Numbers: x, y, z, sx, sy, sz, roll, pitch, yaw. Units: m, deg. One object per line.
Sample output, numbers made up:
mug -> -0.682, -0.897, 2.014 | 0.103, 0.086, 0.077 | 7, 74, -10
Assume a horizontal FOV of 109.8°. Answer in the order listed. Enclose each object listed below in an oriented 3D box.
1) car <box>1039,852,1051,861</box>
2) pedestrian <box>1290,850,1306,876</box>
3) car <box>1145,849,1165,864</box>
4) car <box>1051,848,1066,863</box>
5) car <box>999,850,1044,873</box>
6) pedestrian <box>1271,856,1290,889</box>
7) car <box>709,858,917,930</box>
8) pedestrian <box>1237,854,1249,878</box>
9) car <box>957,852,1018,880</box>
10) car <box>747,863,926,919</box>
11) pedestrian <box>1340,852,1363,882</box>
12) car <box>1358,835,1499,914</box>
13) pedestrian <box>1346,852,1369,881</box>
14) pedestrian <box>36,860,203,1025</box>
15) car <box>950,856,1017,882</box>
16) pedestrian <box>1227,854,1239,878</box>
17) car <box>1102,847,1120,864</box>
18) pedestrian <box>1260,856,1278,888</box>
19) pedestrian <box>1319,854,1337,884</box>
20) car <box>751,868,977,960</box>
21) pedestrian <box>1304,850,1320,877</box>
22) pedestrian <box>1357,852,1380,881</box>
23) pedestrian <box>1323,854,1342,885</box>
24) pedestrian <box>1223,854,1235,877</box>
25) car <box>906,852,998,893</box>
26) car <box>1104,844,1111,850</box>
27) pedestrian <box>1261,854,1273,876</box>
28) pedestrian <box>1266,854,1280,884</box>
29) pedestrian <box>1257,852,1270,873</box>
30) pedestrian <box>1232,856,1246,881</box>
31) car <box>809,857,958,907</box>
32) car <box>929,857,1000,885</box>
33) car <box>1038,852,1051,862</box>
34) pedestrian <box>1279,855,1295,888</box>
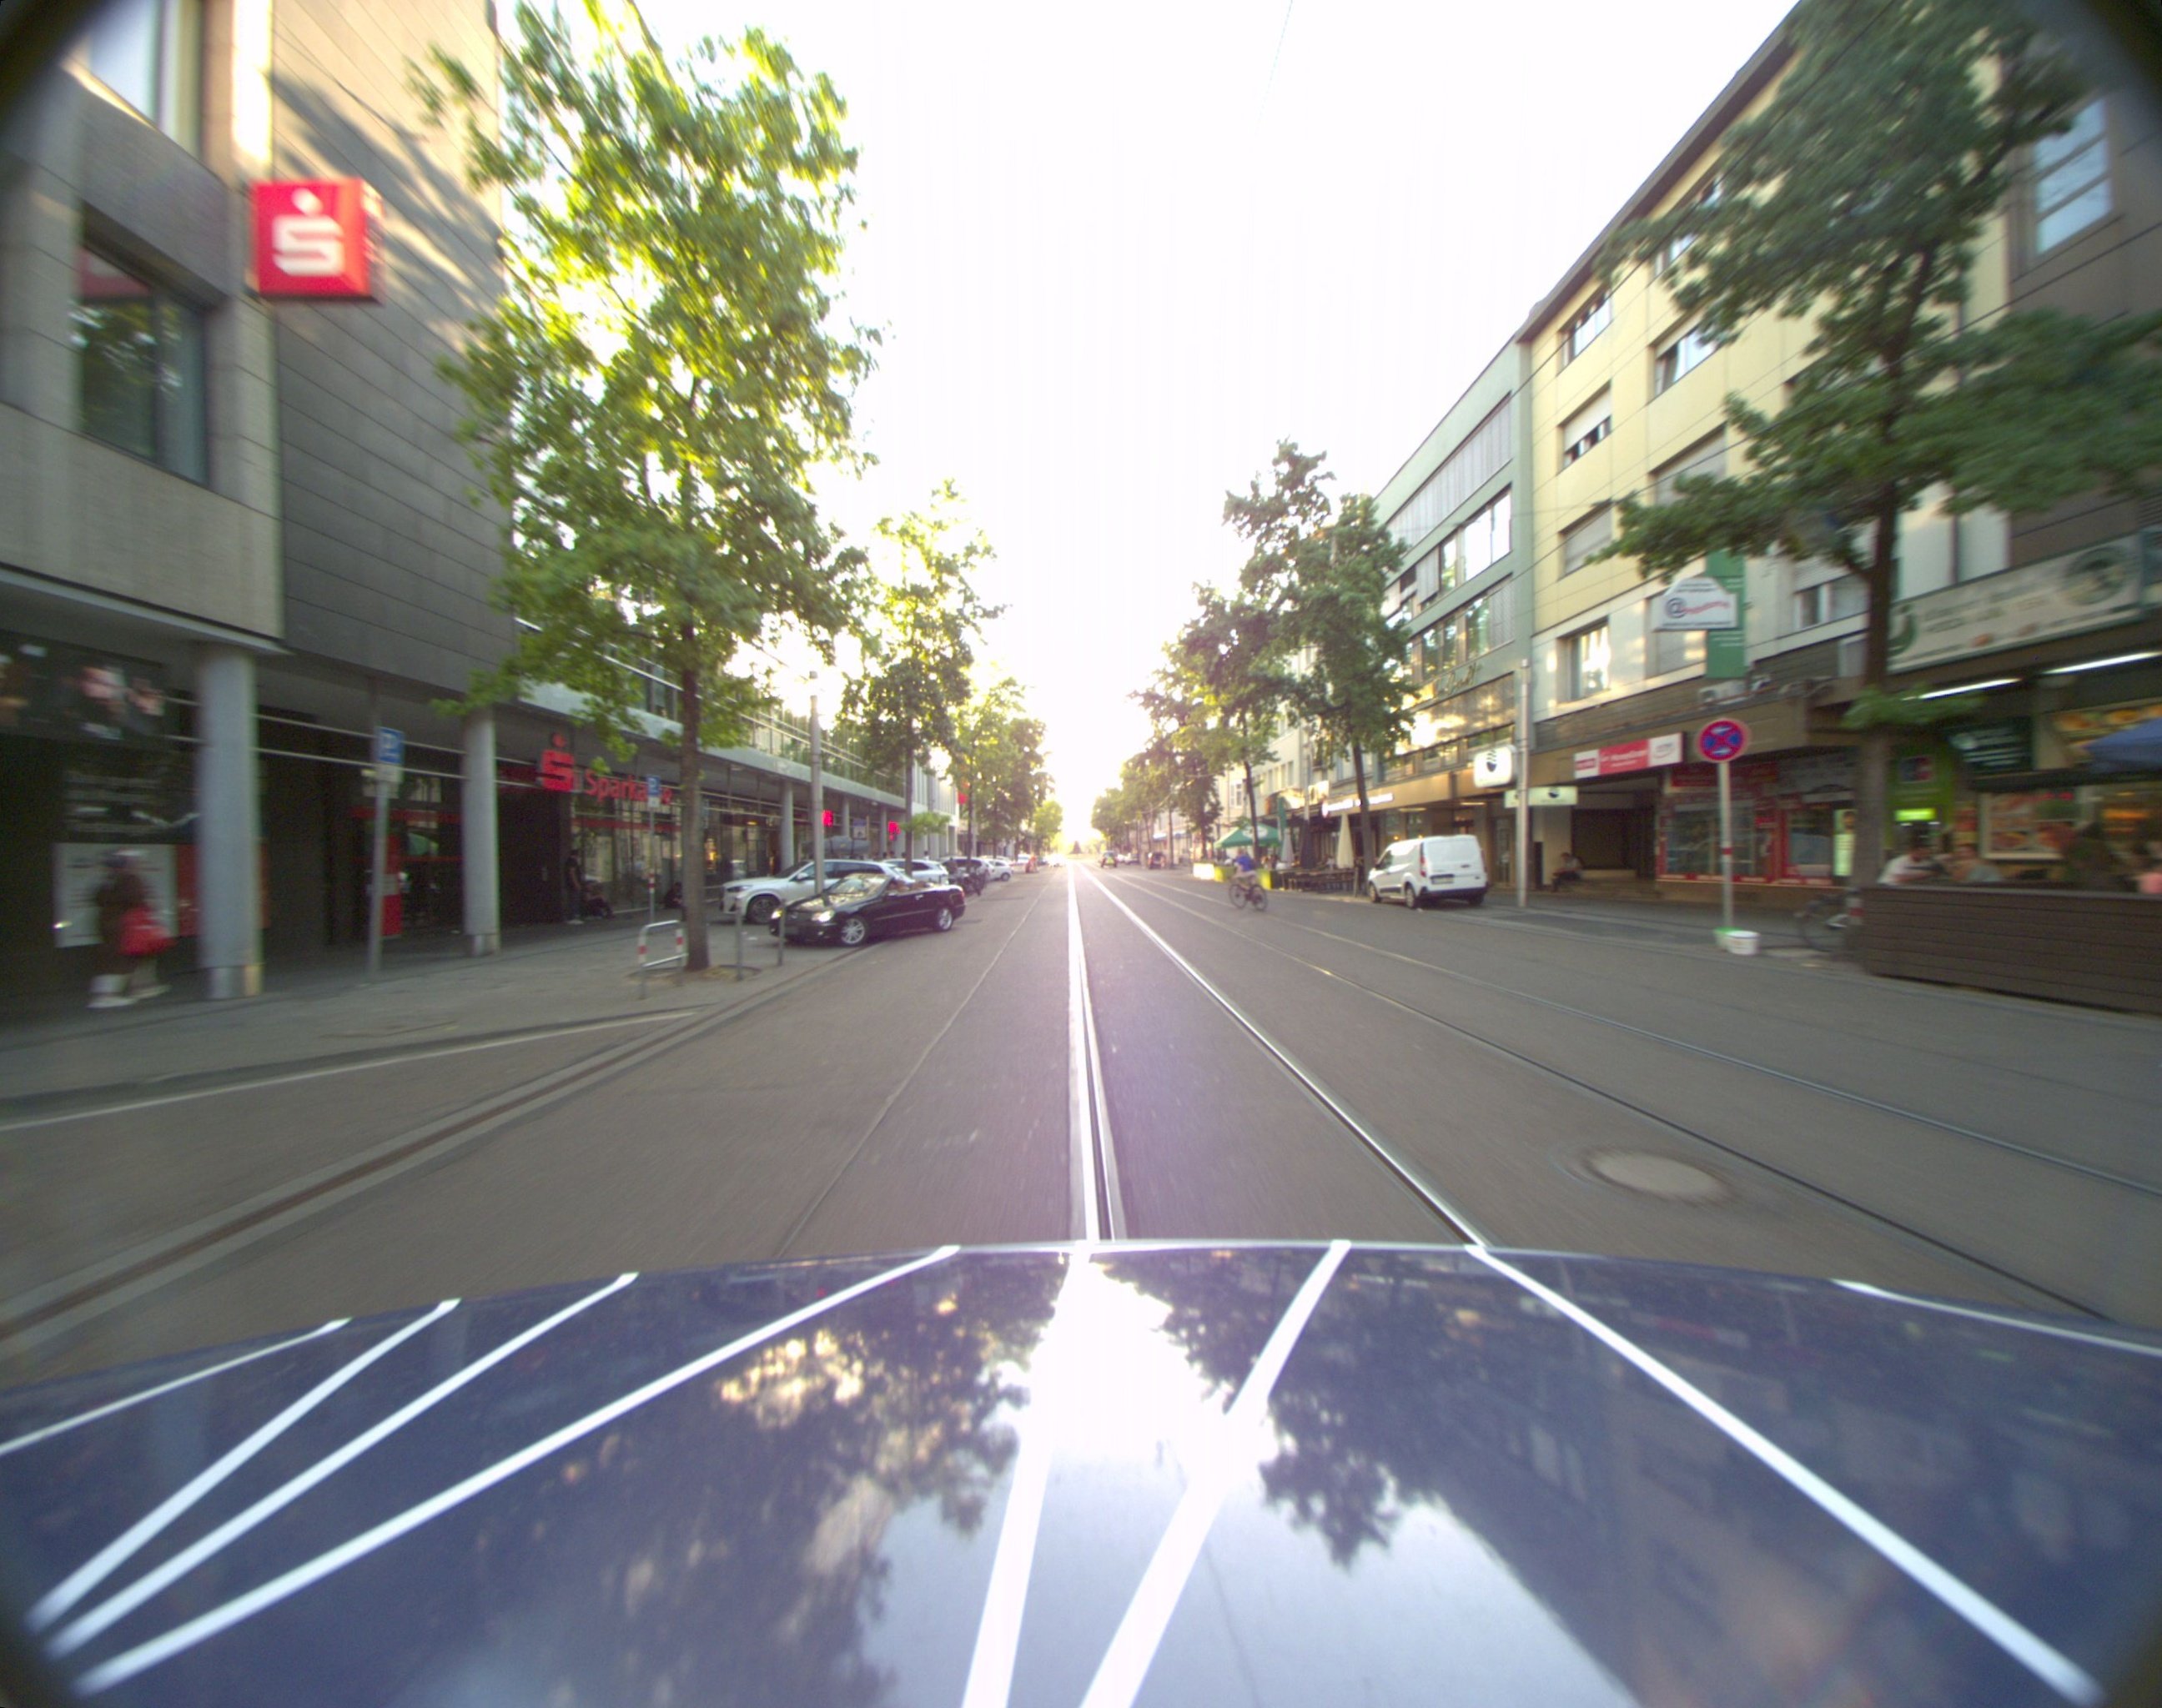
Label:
car -> -6.119, 0.457, 130.797 | 1.793, 1.499, 3.999 | -2, 1, 0
pedestrian -> 12.413, 0.527, 43.444 | 0.650, 1.451, 0.650 | -1, 1, -3
car -> 8.006, 0.269, 82.427 | 1.799, 1.501, 4.000 | -1, 0, 0
car -> -3.081, 0.232, 104.216 | 1.998, 2.002, 4.000 | -1, 0, 0
car -> -5.359, 0.651, 68.990 | 1.860, 1.776, 4.007 | -3, 1, 34
pedestrian -> 8.884, 0.818, 33.822 | 0.648, 1.451, 0.651 | -1, 1, 29
car -> -6.736, 0.970, 19.248 | 4.646, 1.619, 1.913 | 1, -2, -32
pedestrian -> 9.570, 0.700, 44.923 | 0.649, 1.378, 0.650 | -1, 1, 6
car -> -6.898, 0.895, 56.111 | 4.004, 1.776, 1.861 | -4, 1, -24
car -> -7.046, 1.022, 21.947 | 4.645, 1.431, 1.913 | 1, 0, -28
pedestrian -> 12.234, 0.588, 34.387 | 0.701, 1.308, 0.786 | -1, 1, -5
car -> 9.292, 0.489, 20.738 | 1.830, 1.811, 4.329 | -4, 0, 1
pedestrian -> 12.849, 0.559, 35.315 | 0.701, 1.308, 0.786 | -1, 1, -5
pedestrian -> -9.995, 0.886, 7.932 | 0.749, 1.634, 0.741 | 0, 1, -1
car -> -6.584, 0.992, 51.402 | 4.005, 1.501, 1.861 | -4, 1, -30
pedestrian -> 8.976, 0.718, 44.947 | 0.649, 1.378, 0.650 | -1, 1, 6
car -> 3.666, 0.130, 93.181 | 1.998, 2.002, 4.000 | -1, 0, 0
pedestrian -> 8.590, 0.815, 34.760 | 0.649, 1.451, 0.650 | -1, 1, 0
pedestrian -> 12.322, 0.740, 37.886 | 0.650, 1.451, 0.650 | -1, 1, -2
car -> -4.215, 1.128, 15.646 | 1.796, 1.400, 4.572 | -3, 0, 26
pedestrian -> 12.932, 0.522, 42.532 | 0.650, 1.451, 0.650 | -1, 1, -3
pedestrian -> 12.990, 0.566, 34.356 | 0.701, 1.308, 0.786 | -1, 1, -5
pedestrian -> 12.236, 0.754, 36.930 | 0.650, 1.451, 0.649 | -1, 1, -9
pedestrian -> 8.969, 0.703, 46.189 | 0.649, 1.378, 0.650 | -1, 1, 6
car -> -6.917, 0.991, 41.037 | 4.474, 1.869, 1.795 | -4, 1, -37
car -> 7.063, -1.790, 202.011 | 1.799, 1.501, 4.000 | -1, 0, 0
pedestrian -> 12.480, 0.735, 51.025 | 0.650, 1.451, 0.650 | -1, 1, -3
pedestrian -> 9.541, 0.751, 37.730 | 0.649, 1.451, 0.651 | -1, 1, 13
pedestrian -> 12.491, 0.583, 51.958 | 0.650, 1.451, 0.650 | -1, 1, -3
pedestrian -> 8.544, 0.778, 41.053 | 0.649, 1.378, 0.650 | -1, 1, 6
car -> -6.865, 0.930, 26.580 | 4.646, 1.578, 1.913 | 1, 0, -35
car -> -7.323, 1.057, 47.851 | 4.005, 1.501, 1.796 | -4, 1, -30
car -> -5.885, 0.537, 123.595 | 1.793, 1.499, 3.999 | -2, 1, 0
pedestrian -> 9.386, 0.793, 34.610 | 0.649, 1.451, 0.651 | -1, 1, 17
